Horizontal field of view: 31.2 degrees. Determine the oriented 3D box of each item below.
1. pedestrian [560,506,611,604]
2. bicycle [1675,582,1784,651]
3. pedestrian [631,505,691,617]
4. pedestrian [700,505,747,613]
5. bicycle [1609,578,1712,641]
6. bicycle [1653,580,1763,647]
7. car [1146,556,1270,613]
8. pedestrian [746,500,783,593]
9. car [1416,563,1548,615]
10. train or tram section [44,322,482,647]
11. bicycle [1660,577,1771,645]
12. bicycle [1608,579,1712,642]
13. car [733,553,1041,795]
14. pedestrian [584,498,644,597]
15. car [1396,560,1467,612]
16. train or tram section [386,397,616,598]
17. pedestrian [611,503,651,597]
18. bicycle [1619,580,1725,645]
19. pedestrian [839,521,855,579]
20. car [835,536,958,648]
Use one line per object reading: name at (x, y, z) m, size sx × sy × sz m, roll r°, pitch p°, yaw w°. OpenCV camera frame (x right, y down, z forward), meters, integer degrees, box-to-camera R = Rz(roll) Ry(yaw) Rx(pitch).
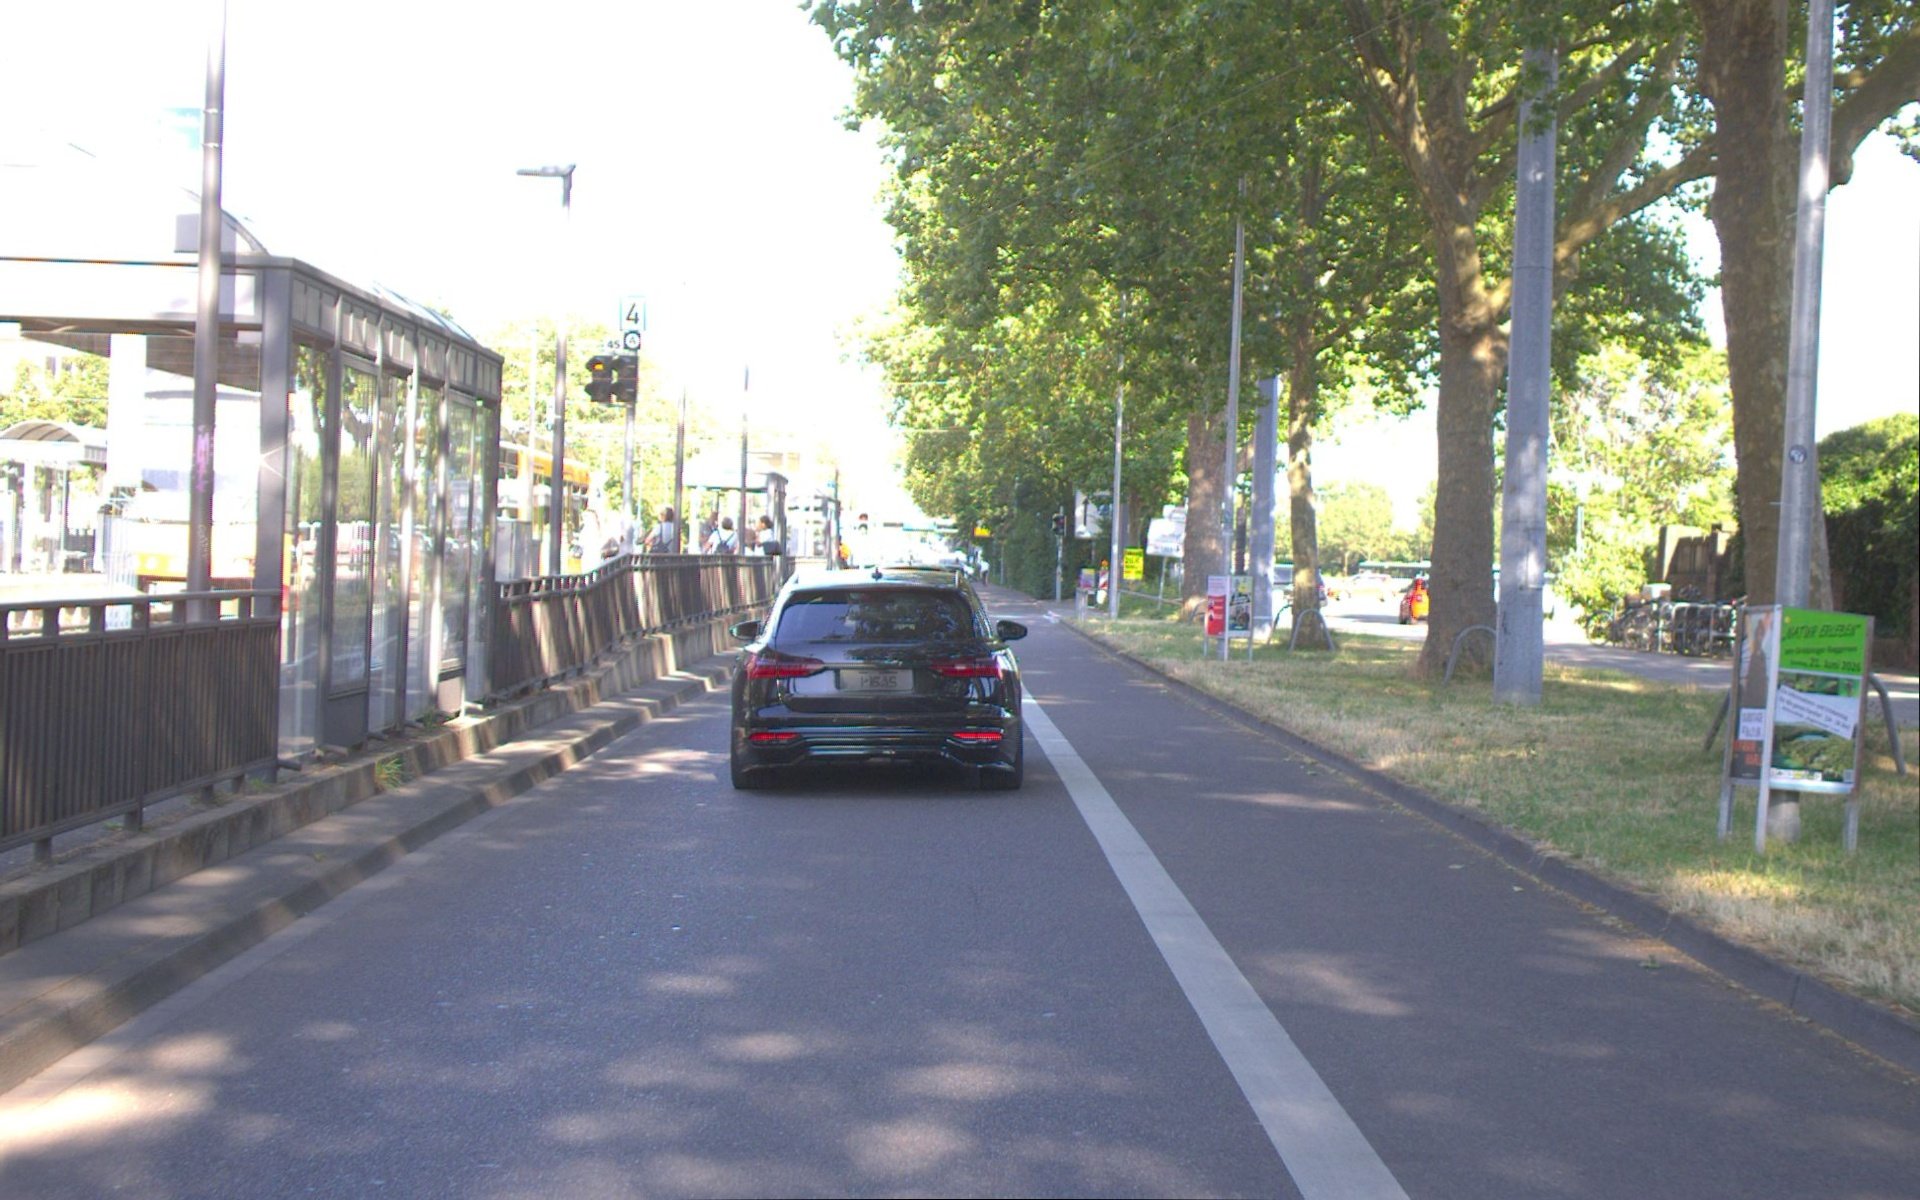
pedestrian at (-6.939, -0.841, 63.716) m, size 0.793 × 1.778 × 0.625 m, roll 2°, pitch 1°, yaw 0°
bicycle at (12.775, 0.274, 57.068) m, size 1.687 × 1.116 × 0.439 m, roll 1°, pitch 1°, yaw -1°
pedestrian at (-4.214, -0.555, 48.516) m, size 0.614 × 1.543 × 0.724 m, roll 2°, pitch 1°, yaw 10°
pedestrian at (-3.731, -0.649, 54.291) m, size 0.611 × 1.663 × 0.613 m, roll 2°, pitch 1°, yaw 2°
bicycle at (12.905, 0.176, 63.349) m, size 1.773 × 1.116 × 0.439 m, roll 1°, pitch 1°, yaw -1°
bicycle at (12.850, 0.237, 59.084) m, size 1.773 × 1.116 × 0.439 m, roll 1°, pitch 1°, yaw -1°
car at (8.279, -0.523, 115.033) m, size 3.987 × 1.758 × 1.833 m, roll 2°, pitch 0°, yaw 1°
pedestrian at (-3.779, -1.042, 66.643) m, size 0.611 × 1.778 × 0.613 m, roll 2°, pitch 1°, yaw 0°
car at (18.728, -0.409, 123.471) m, size 4.459 × 1.653 × 1.917 m, roll 2°, pitch 1°, yaw 4°
train or tram section at (-9.462, -1.498, 48.908) m, size 3.309 × 3.816 × 14.220 m, roll 2°, pitch 1°, yaw 0°
bicycle at (12.773, 0.190, 58.134) m, size 1.773 × 1.116 × 0.439 m, roll 1°, pitch 1°, yaw -1°
bicycle at (12.684, 0.193, 62.304) m, size 1.773 × 1.116 × 0.439 m, roll 1°, pitch 1°, yaw -1°
car at (-0.520, 0.432, 22.822) m, size 1.878 × 1.452 × 3.357 m, roll 1°, pitch 1°, yaw -3°
pedestrian at (-6.340, -0.968, 63.036) m, size 0.793 × 1.778 × 0.649 m, roll 2°, pitch 1°, yaw -40°
car at (14.558, -0.443, 106.342) m, size 1.614 × 1.510 × 3.803 m, roll 2°, pitch 1°, yaw 0°
train or tram section at (-9.651, -2.104, 73.780) m, size 3.309 × 3.816 × 11.844 m, roll 2°, pitch 1°, yaw 0°
pedestrian at (-6.324, -0.964, 66.087) m, size 0.611 × 1.778 × 0.775 m, roll 2°, pitch 1°, yaw 0°
bicycle at (12.679, 0.215, 61.218) m, size 1.773 × 1.116 × 0.439 m, roll 1°, pitch 1°, yaw -1°
pedestrian at (-3.411, -1.507, 103.682) m, size 0.412 × 1.711 × 0.666 m, roll 2°, pitch 1°, yaw 0°
car at (-1.024, -0.161, 53.511) m, size 1.762 × 1.614 × 4.001 m, roll 2°, pitch 1°, yaw -2°
